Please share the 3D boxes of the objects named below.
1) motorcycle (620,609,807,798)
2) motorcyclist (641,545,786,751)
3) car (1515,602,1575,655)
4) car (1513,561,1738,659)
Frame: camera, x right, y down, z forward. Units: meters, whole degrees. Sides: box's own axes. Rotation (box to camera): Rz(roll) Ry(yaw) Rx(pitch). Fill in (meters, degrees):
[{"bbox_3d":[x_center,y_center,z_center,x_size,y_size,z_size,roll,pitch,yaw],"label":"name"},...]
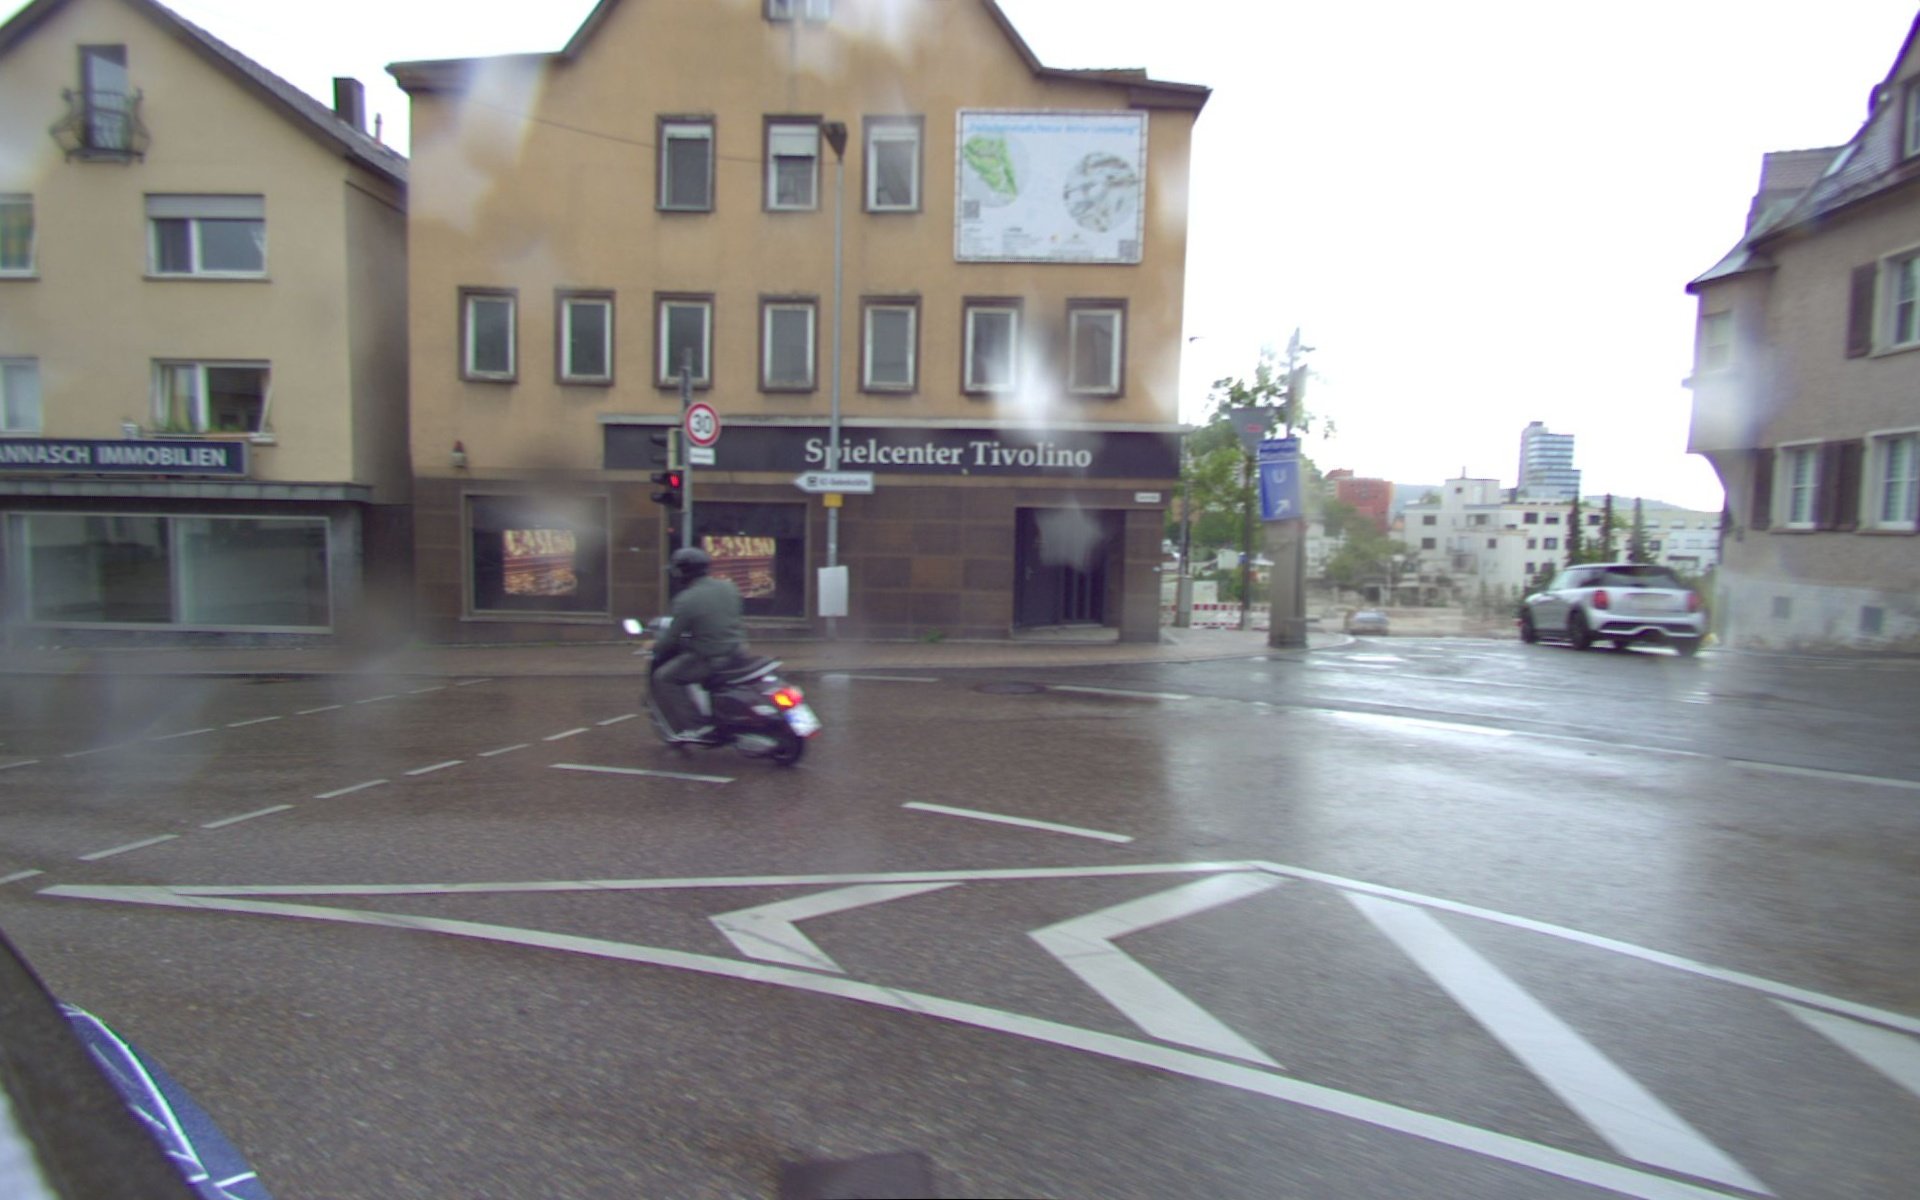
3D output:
[{"bbox_3d":[-1.880,0.673,7.499,0.758,1.139,1.922,-2,2,-32],"label":"motorcycle"},{"bbox_3d":[-1.783,0.301,7.303,0.797,1.364,0.670,-4,5,-32],"label":"motorcyclist"},{"bbox_3d":[18.722,0.850,32.335,1.530,1.488,3.353,0,2,32],"label":"car"},{"bbox_3d":[10.924,0.103,16.986,1.982,1.442,3.981,-1,1,15],"label":"car"}]
